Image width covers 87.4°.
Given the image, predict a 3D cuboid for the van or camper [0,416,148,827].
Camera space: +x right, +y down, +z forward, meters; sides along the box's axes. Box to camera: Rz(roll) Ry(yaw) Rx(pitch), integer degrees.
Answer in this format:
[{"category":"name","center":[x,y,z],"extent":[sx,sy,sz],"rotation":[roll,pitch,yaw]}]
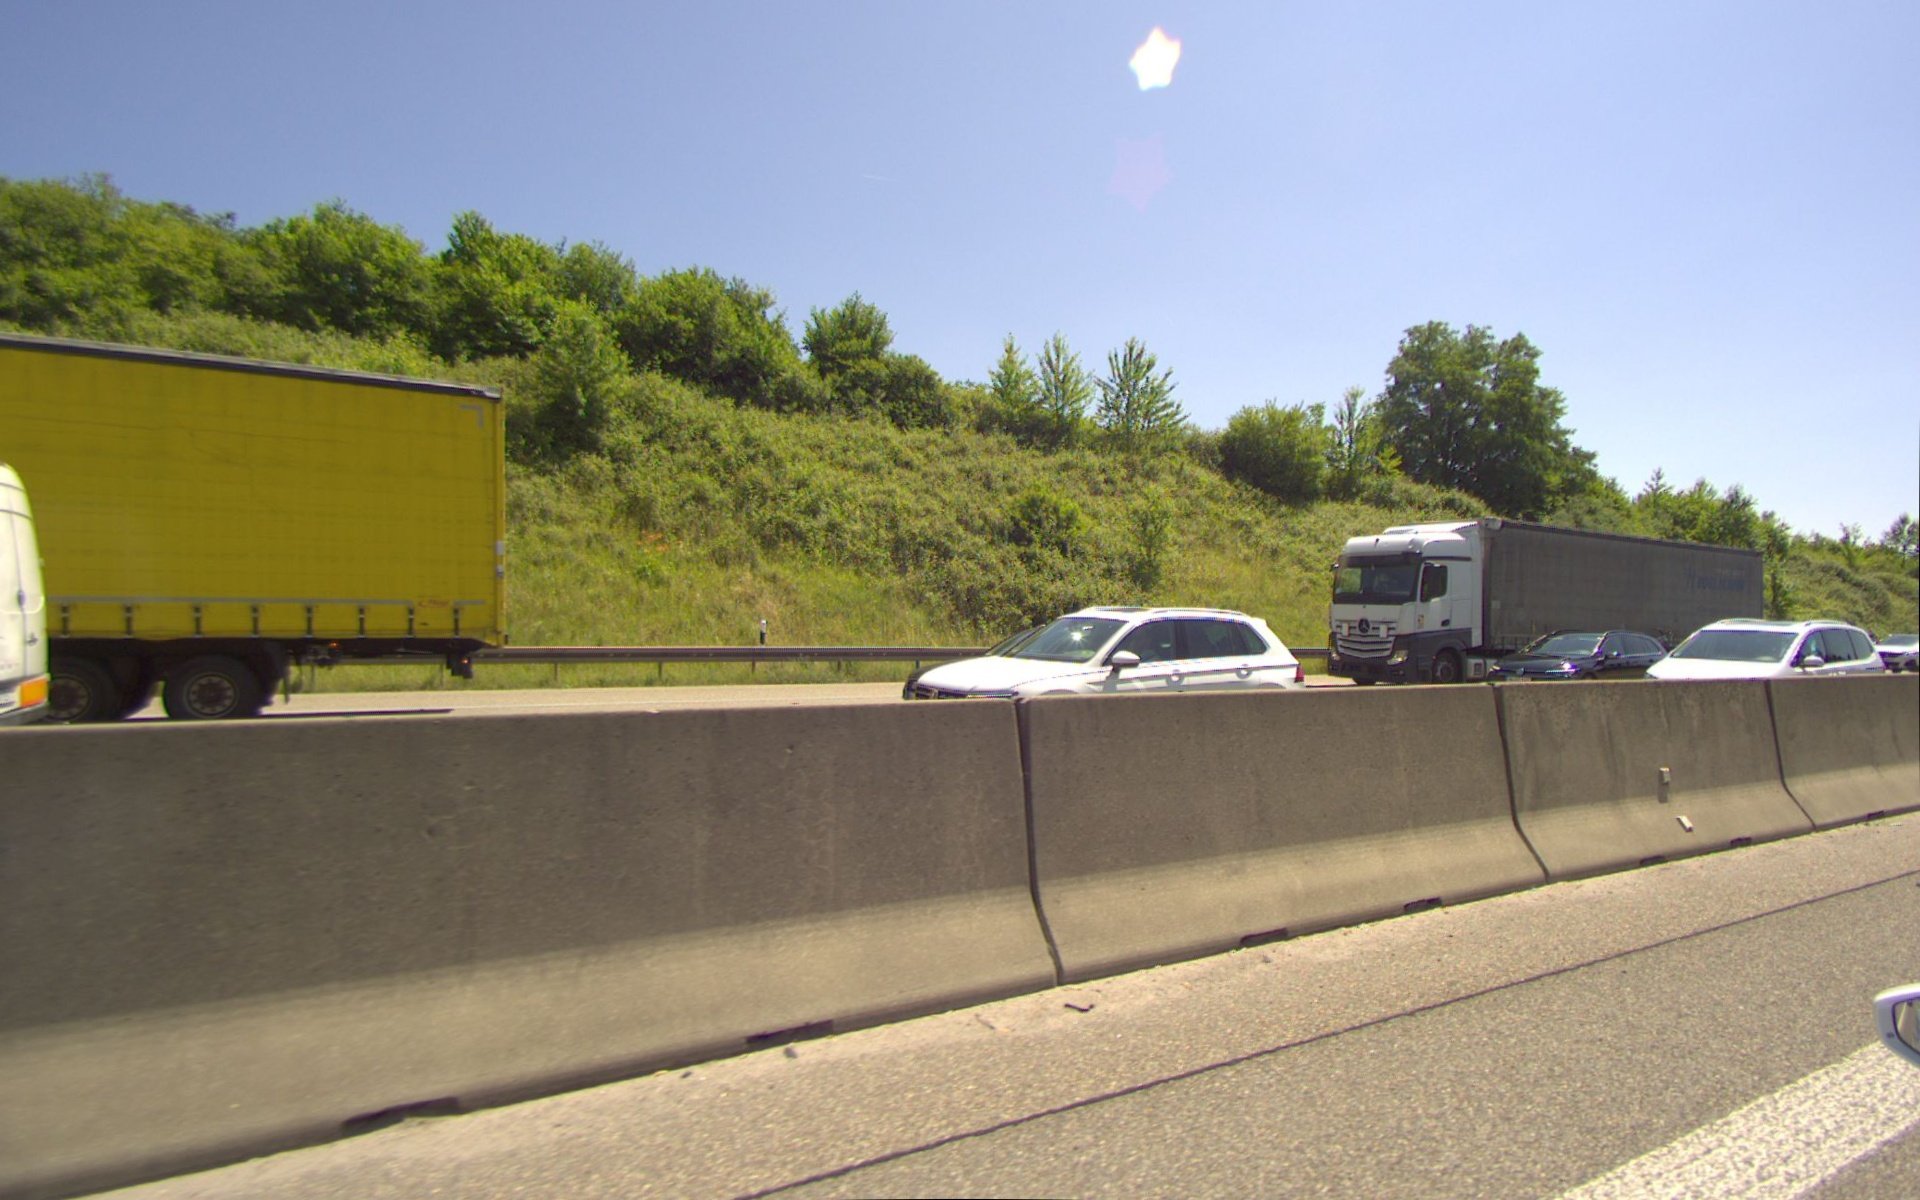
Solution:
[{"category":"van or camper","center":[-10.419,0.029,6.657],"extent":[7.441,2.978,2.188],"rotation":[2,0,-28]}]

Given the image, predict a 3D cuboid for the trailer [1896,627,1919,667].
[{"category":"trailer","center":[40.451,1.992,41.514],"extent":[3.184,1.608,1.686],"rotation":[2,0,-30]}]

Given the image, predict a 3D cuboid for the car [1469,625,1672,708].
[{"category":"car","center":[12.296,1.306,20.166],"extent":[4.431,1.475,1.587],"rotation":[2,0,-31]}]

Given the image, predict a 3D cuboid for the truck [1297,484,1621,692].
[{"category":"truck","center":[12.735,-0.125,25.369],"extent":[8.500,4.575,2.930],"rotation":[2,0,-29]}]

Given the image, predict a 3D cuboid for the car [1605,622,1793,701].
[{"category":"car","center":[16.703,1.358,22.663],"extent":[4.472,1.585,1.818],"rotation":[2,0,-31]}]

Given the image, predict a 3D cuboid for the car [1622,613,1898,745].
[{"category":"car","center":[12.835,1.198,16.026],"extent":[4.934,1.788,1.818],"rotation":[2,0,-31]}]

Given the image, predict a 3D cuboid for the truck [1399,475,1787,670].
[{"category":"truck","center":[18.327,-0.422,28.468],"extent":[13.755,4.603,2.982],"rotation":[2,0,-29]}]

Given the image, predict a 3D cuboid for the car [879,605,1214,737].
[{"category":"car","center":[1.280,0.948,14.170],"extent":[4.472,1.585,1.818],"rotation":[2,0,-31]}]

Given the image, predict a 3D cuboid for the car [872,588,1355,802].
[{"category":"car","center":[1.715,0.870,10.461],"extent":[4.934,1.788,1.818],"rotation":[2,0,-31]}]

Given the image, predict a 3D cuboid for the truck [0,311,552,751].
[{"category":"truck","center":[-13.343,-0.829,10.418],"extent":[16.479,4.515,3.679],"rotation":[2,0,-30]}]

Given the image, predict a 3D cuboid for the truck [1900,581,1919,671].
[{"category":"truck","center":[34.221,0.956,33.225],"extent":[6.669,2.883,2.558],"rotation":[2,0,-29]}]

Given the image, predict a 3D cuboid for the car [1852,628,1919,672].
[{"category":"car","center":[37.209,1.988,39.649],"extent":[4.318,1.608,1.725],"rotation":[2,0,-30]}]
